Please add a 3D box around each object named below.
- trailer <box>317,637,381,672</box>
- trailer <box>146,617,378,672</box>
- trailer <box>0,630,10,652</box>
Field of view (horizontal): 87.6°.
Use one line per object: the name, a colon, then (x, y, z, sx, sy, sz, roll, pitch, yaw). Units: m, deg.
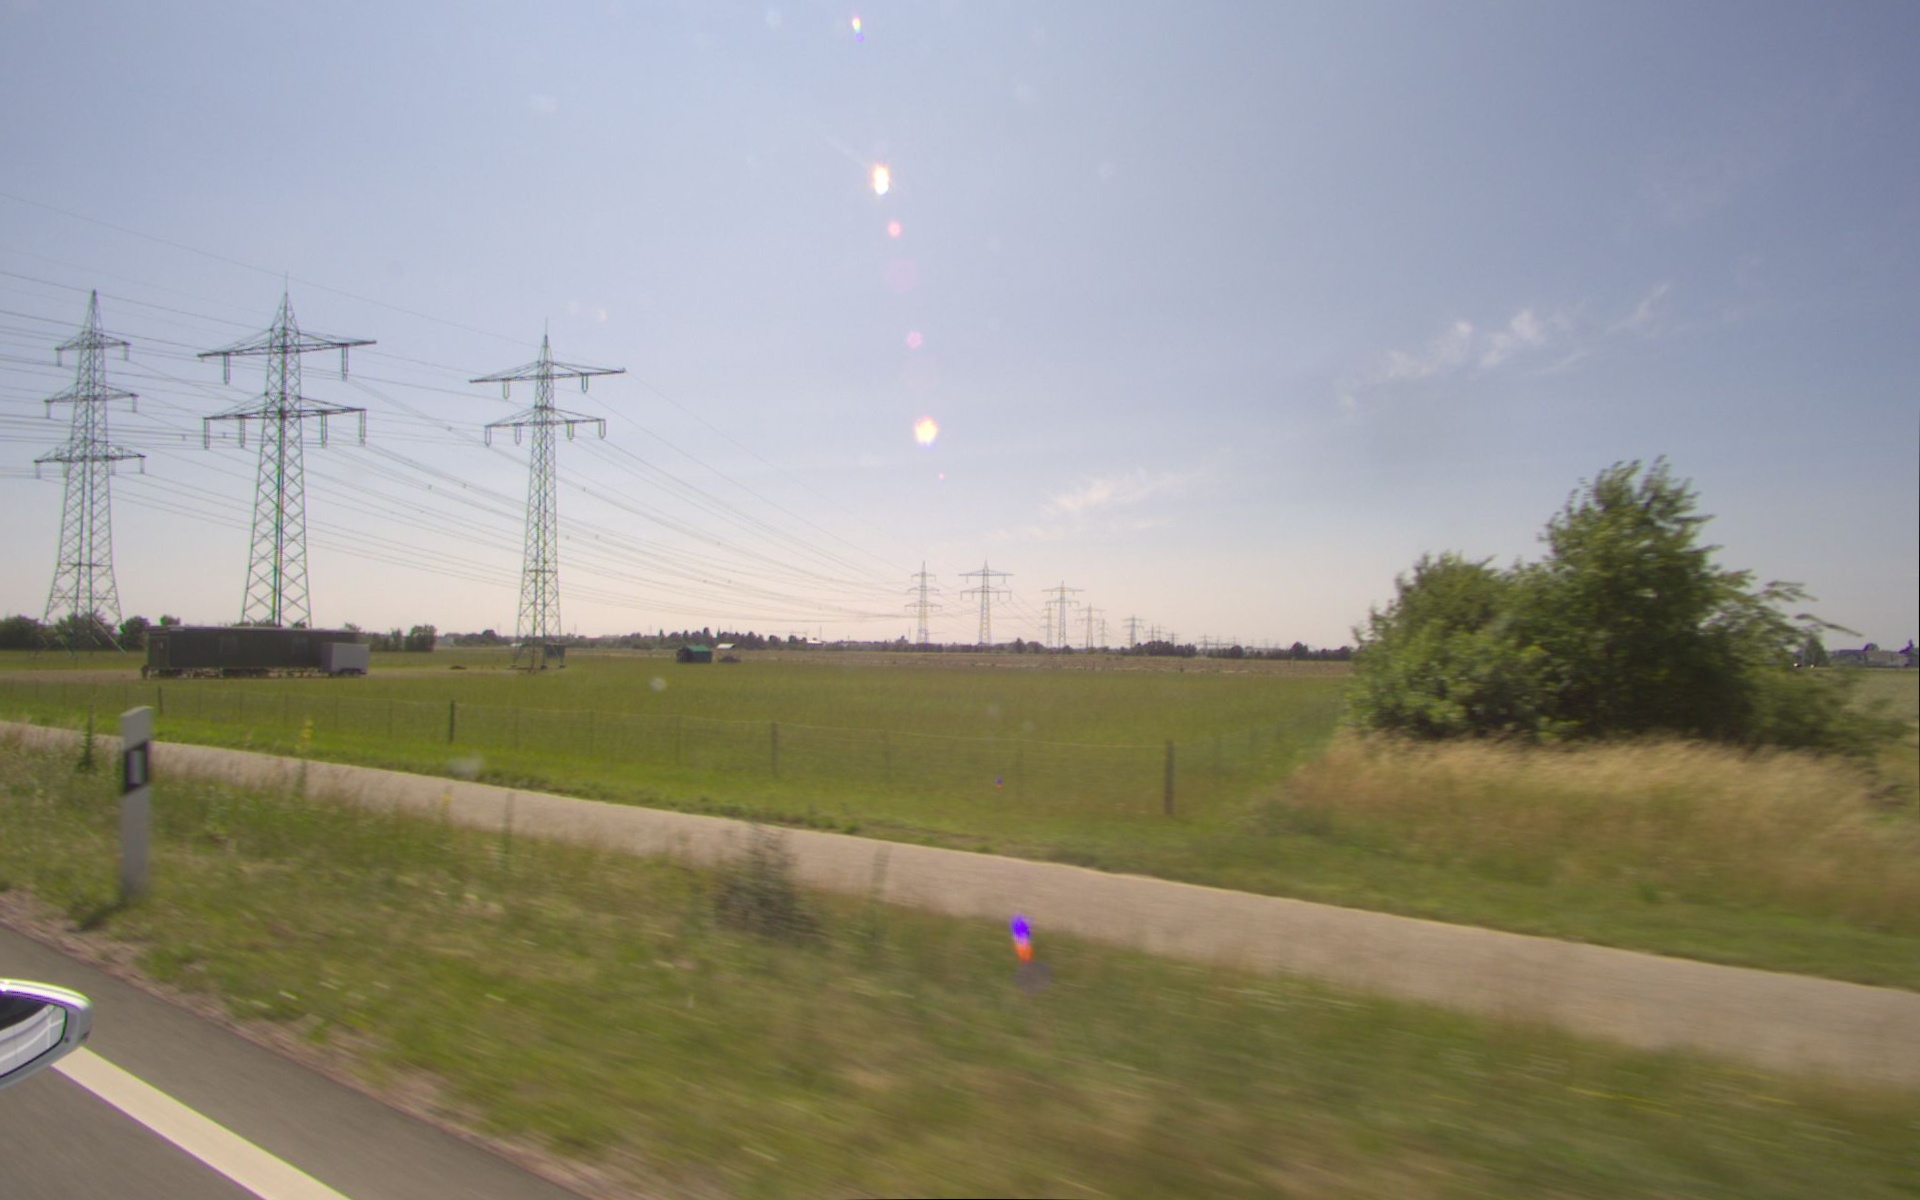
trailer: (-45.004, 4.035, 73.791, 2.007, 2.493, 3.405, 0, -3, 30)
trailer: (-49.373, 3.230, 71.676, 3.227, 3.518, 13.503, 0, -3, 29)
trailer: (-110.180, 4.585, 112.874, 1.968, 2.473, 3.989, 0, -3, 26)
